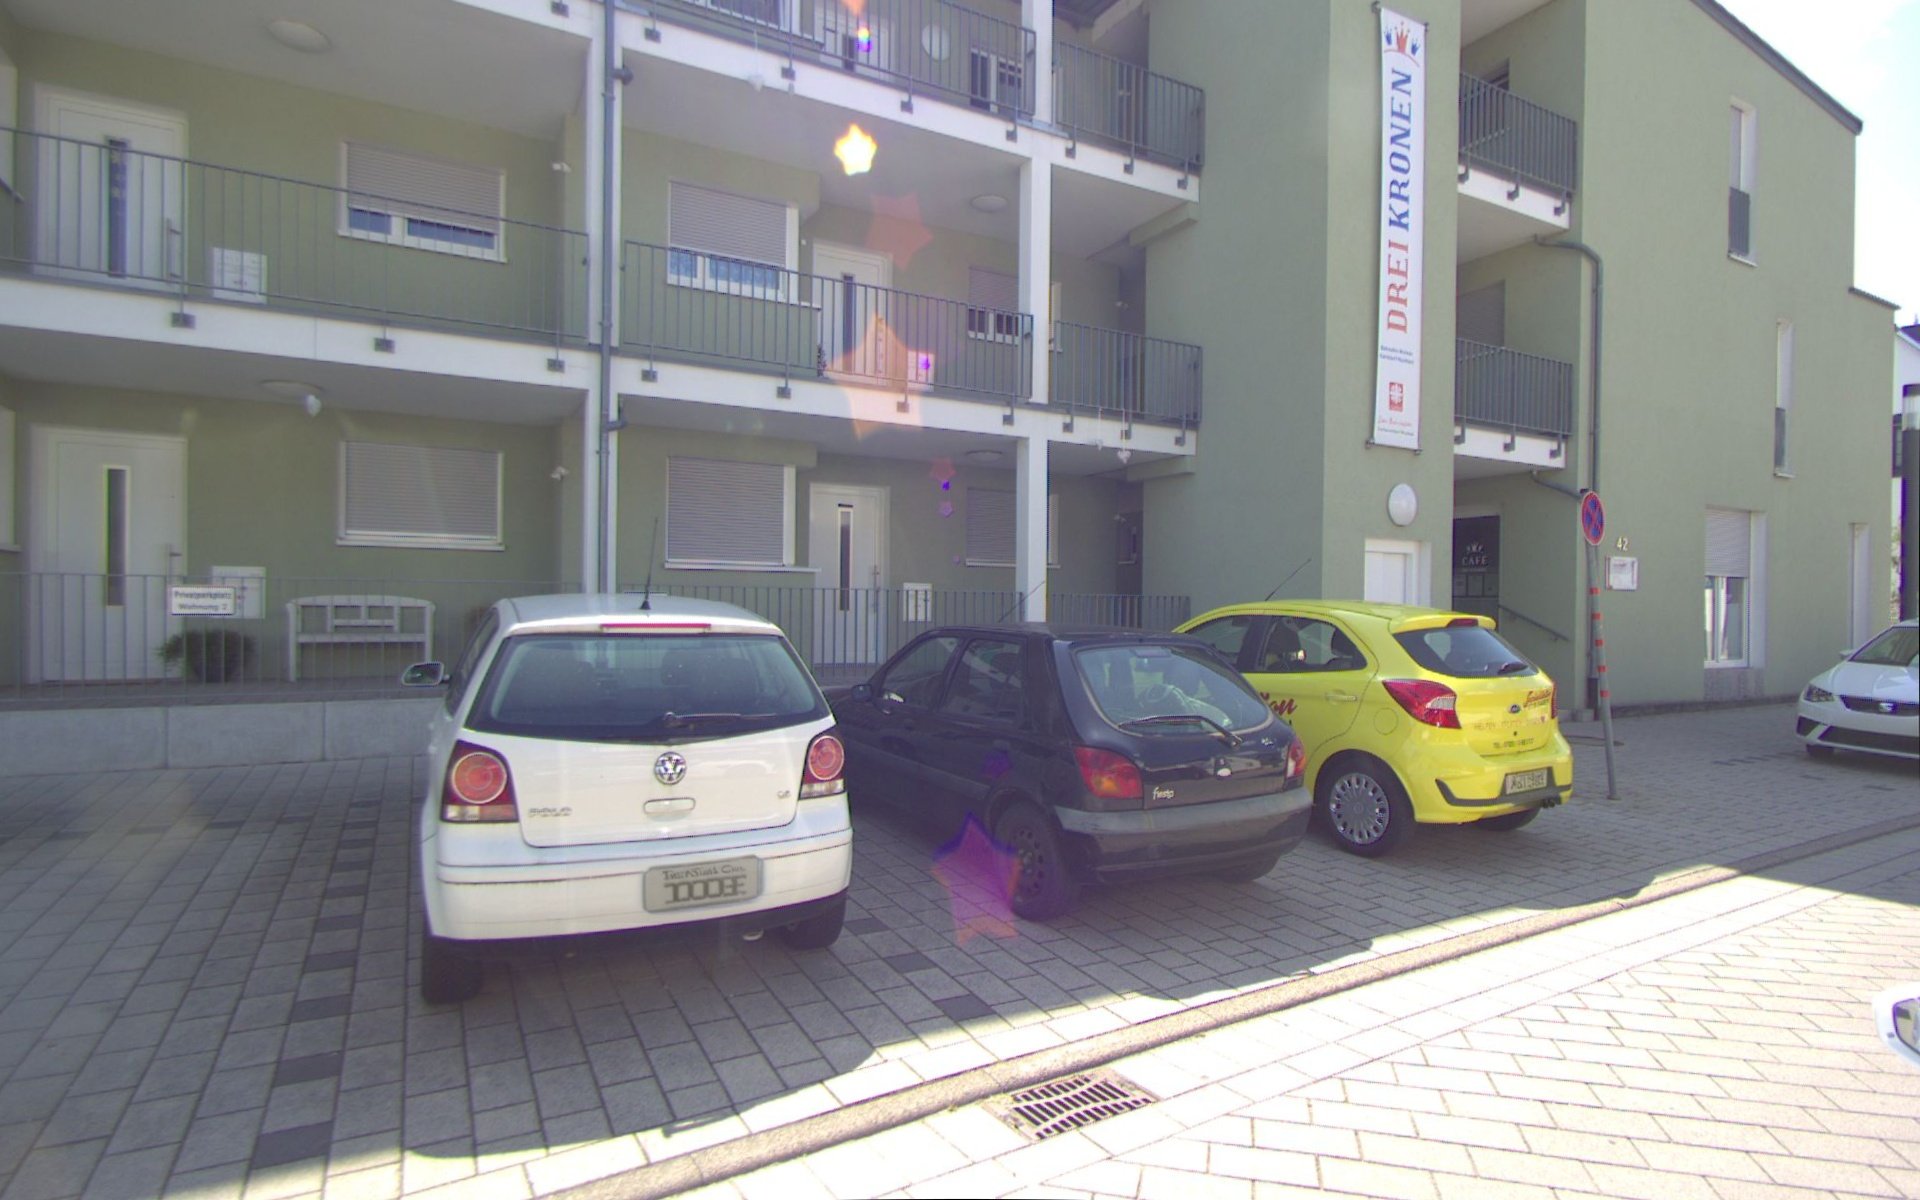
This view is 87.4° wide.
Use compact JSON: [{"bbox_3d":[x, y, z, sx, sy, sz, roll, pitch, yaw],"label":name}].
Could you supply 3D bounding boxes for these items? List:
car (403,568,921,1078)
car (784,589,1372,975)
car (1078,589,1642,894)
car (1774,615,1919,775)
[{"bbox_3d":[-1.799,0.641,5.204,1.728,1.523,3.886,0,2,-27],"label":"car"},{"bbox_3d":[0.340,0.747,6.303,1.670,1.461,3.969,1,2,-28],"label":"car"},{"bbox_3d":[2.606,0.756,7.434,1.651,1.546,3.677,0,2,-27],"label":"car"},{"bbox_3d":[10.424,0.908,10.414,3.830,1.430,1.750,0,2,-29],"label":"car"}]
